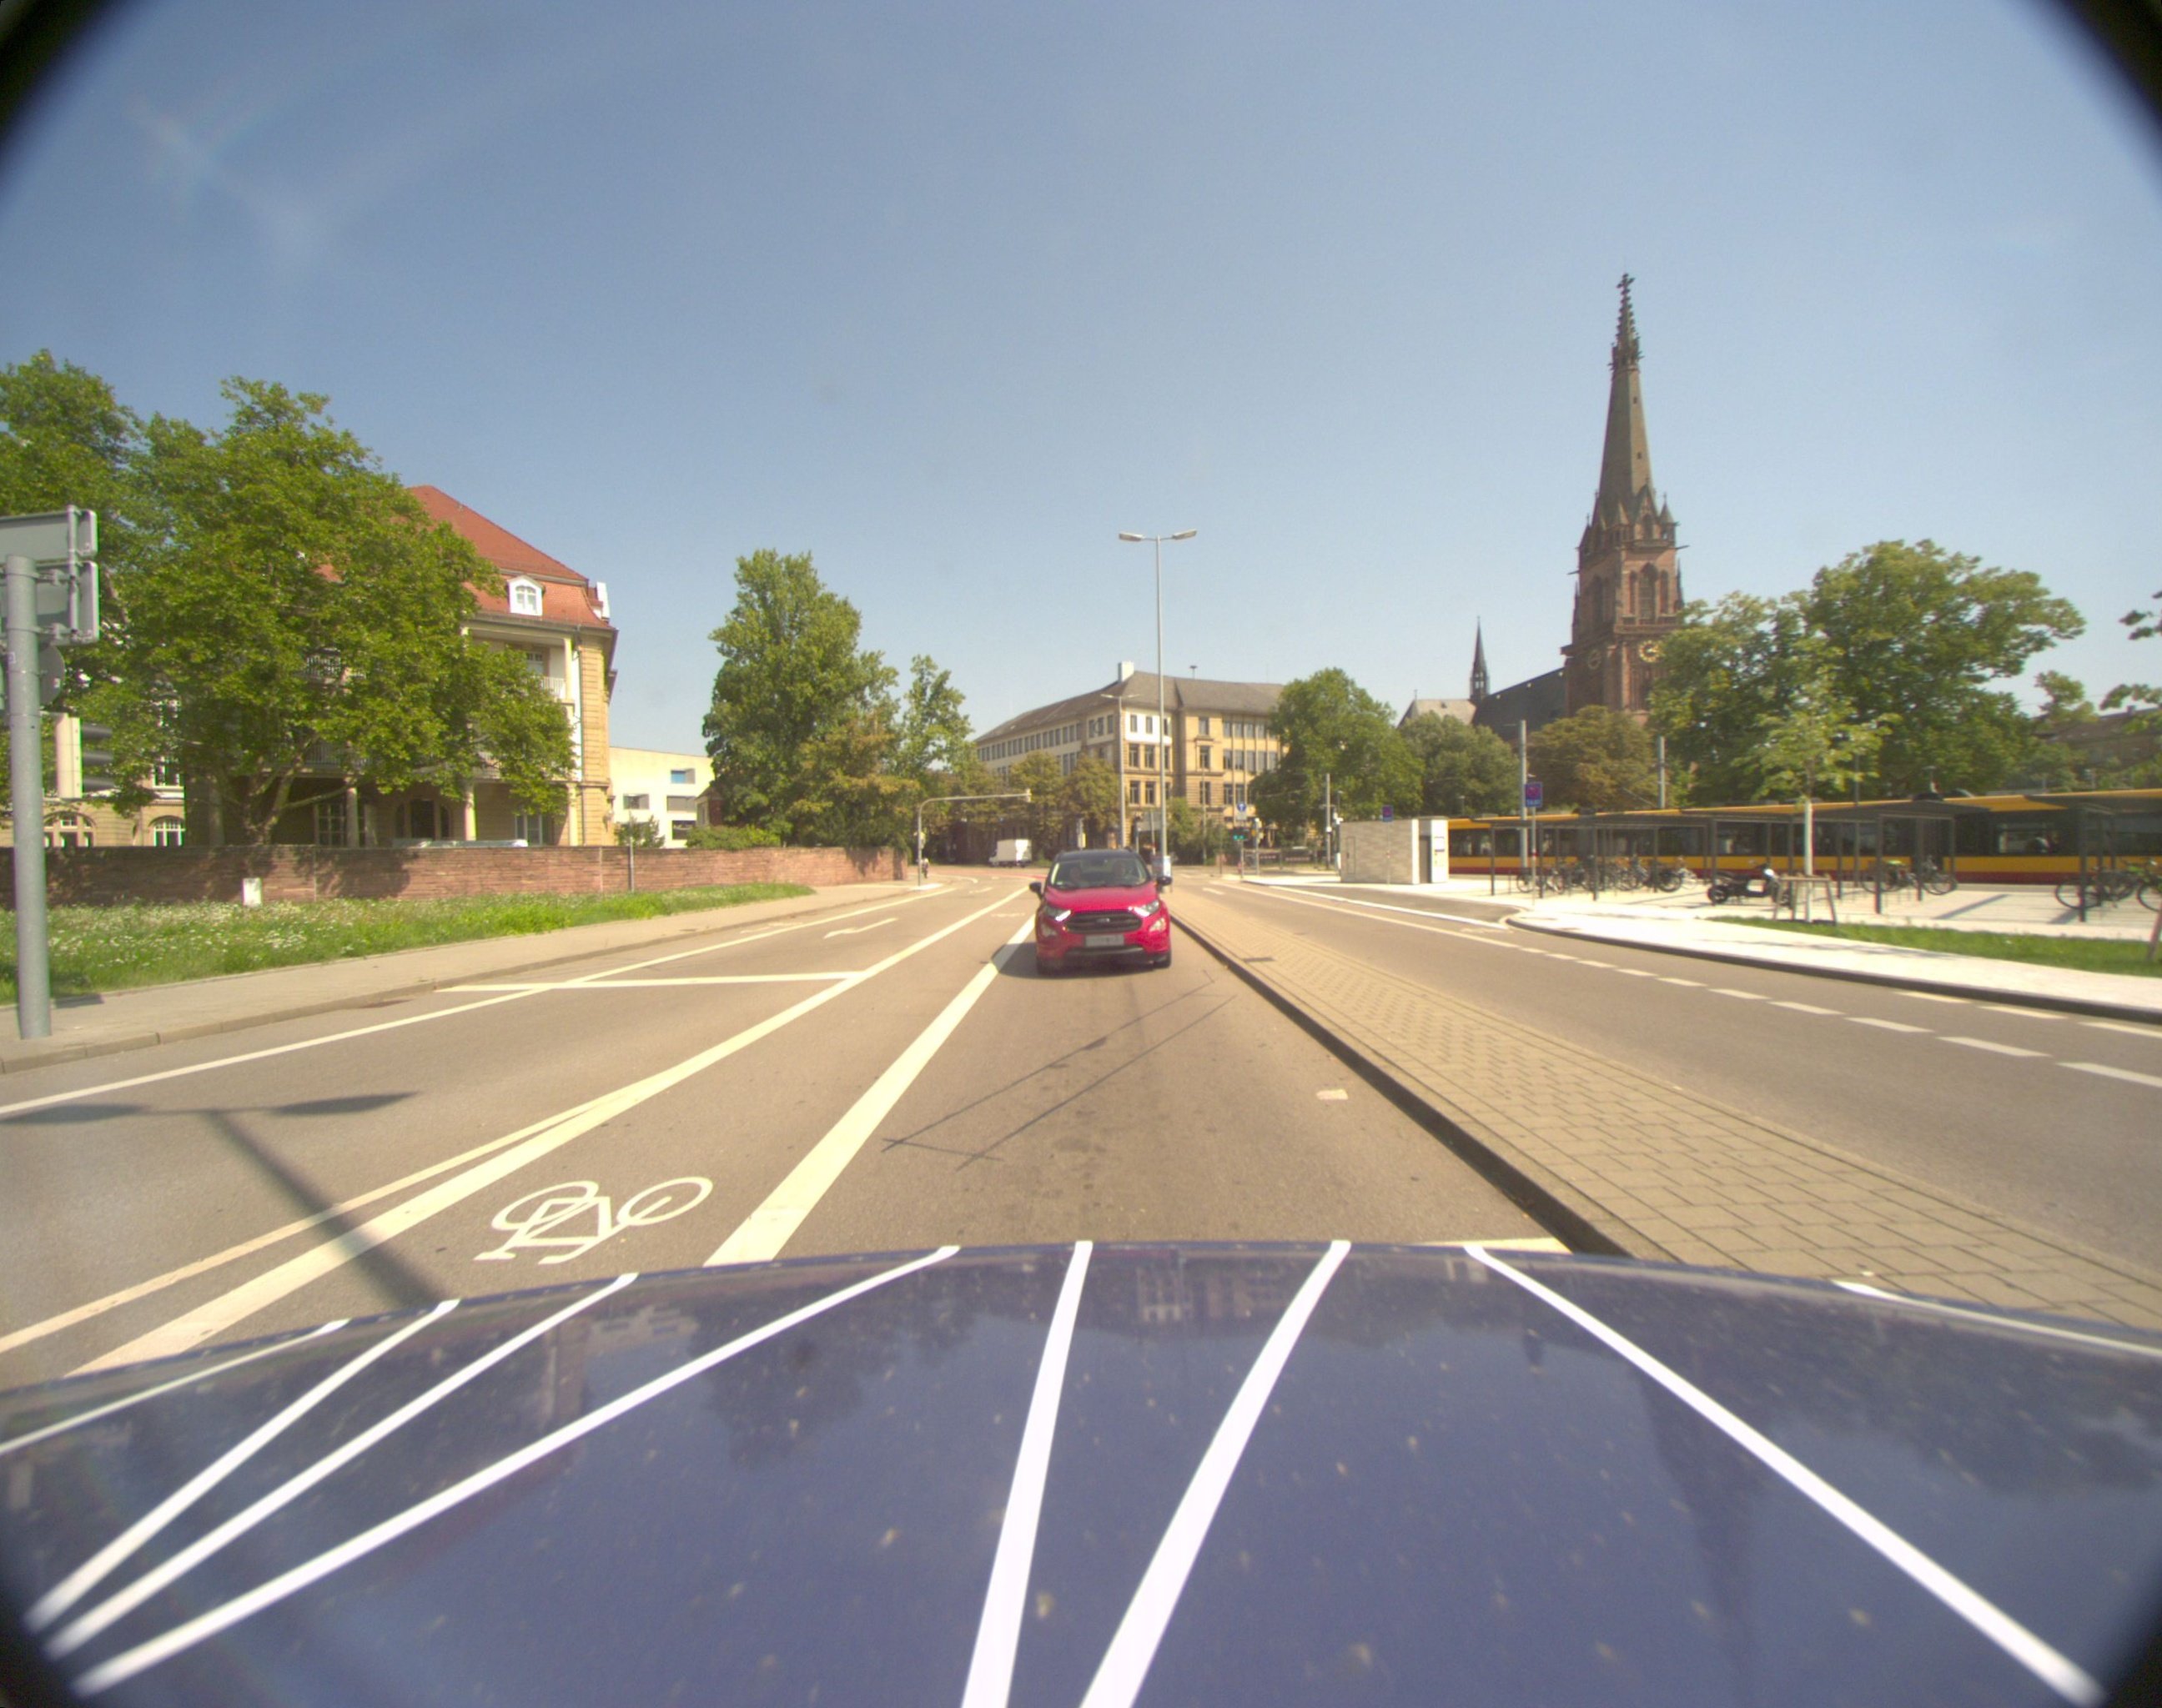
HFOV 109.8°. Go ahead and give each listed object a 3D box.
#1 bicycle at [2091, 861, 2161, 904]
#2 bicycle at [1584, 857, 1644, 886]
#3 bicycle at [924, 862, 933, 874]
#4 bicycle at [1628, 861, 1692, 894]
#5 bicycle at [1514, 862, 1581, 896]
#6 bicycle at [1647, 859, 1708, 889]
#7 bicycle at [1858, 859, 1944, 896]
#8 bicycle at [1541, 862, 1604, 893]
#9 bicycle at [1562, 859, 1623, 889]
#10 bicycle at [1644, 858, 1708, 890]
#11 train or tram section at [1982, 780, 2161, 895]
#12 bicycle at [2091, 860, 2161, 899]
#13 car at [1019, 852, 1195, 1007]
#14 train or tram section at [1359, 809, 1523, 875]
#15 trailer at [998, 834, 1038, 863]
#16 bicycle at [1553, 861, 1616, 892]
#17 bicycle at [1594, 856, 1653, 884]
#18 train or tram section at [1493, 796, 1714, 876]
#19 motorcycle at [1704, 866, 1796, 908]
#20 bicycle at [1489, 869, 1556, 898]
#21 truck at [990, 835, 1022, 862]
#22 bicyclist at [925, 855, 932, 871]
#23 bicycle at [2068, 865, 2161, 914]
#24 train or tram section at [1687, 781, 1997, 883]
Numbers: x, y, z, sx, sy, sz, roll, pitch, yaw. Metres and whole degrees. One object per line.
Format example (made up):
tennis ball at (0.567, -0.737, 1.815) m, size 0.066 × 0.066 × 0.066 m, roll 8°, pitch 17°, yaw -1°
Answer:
bicycle at (26.023, 0.683, 18.459) m, size 1.730 × 1.034 × 0.514 m, roll 0°, pitch 1°, yaw 43°
bicycle at (19.821, 0.622, 28.298) m, size 0.528 × 1.034 × 1.766 m, roll -1°, pitch 1°, yaw -32°
bicycle at (-11.825, 1.079, 58.887) m, size 0.437 × 0.807 × 1.485 m, roll -1°, pitch 1°, yaw -1°
bicycle at (19.003, 0.769, 24.968) m, size 0.413 × 1.034 × 1.637 m, roll -1°, pitch 1°, yaw -32°
bicycle at (15.563, 0.803, 25.405) m, size 0.528 × 1.076 × 1.860 m, roll -1°, pitch 1°, yaw -32°
bicycle at (20.866, 0.685, 26.616) m, size 0.413 × 1.034 × 1.637 m, roll -1°, pitch 1°, yaw -32°
bicycle at (23.863, 0.656, 22.143) m, size 0.413 × 1.034 × 1.637 m, roll -1°, pitch 1°, yaw -32°
bicycle at (16.859, 0.789, 26.082) m, size 0.528 × 1.034 × 1.766 m, roll -1°, pitch 1°, yaw -32°
bicycle at (18.619, 0.717, 27.688) m, size 0.528 × 1.034 × 1.766 m, roll -1°, pitch 1°, yaw -32°
bicycle at (19.943, 0.651, 25.503) m, size 0.413 × 1.034 × 1.637 m, roll -1°, pitch 1°, yaw -32°
train or tram section at (35.240, -0.530, 24.140) m, size 3.167 × 3.576 × 8.225 m, roll 0°, pitch -1°, yaw -34°
bicycle at (27.420, 0.642, 19.450) m, size 0.514 × 0.980 × 1.852 m, roll -1°, pitch 1°, yaw -36°
car at (0.311, 0.823, 10.322) m, size 1.844 × 1.605 × 4.000 m, roll -3°, pitch 0°, yaw 1°
train or tram section at (21.086, -0.592, 45.040) m, size 3.144 × 3.539 × 8.307 m, roll 0°, pitch -1°, yaw -34°
trailer at (-7.566, -0.669, 90.413) m, size 2.446 × 3.269 × 5.075 m, roll -2°, pitch 1°, yaw -36°
bicycle at (17.475, 0.763, 26.429) m, size 0.528 × 1.034 × 1.766 m, roll -1°, pitch 1°, yaw -32°
bicycle at (20.720, 0.583, 29.033) m, size 0.528 × 1.034 × 1.766 m, roll -1°, pitch 1°, yaw -32°
train or tram section at (25.805, -0.738, 38.083) m, size 3.167 × 3.576 × 8.505 m, roll 0°, pitch -1°, yaw -34°
motorcycle at (17.771, 0.856, 20.237) m, size 0.492 × 1.062 × 1.775 m, roll -1°, pitch 1°, yaw -31°
bicycle at (14.410, 0.940, 24.860) m, size 0.492 × 0.878 × 1.894 m, roll -1°, pitch 1°, yaw -31°
truck at (-9.108, -0.686, 92.541) m, size 2.434 × 3.269 × 3.418 m, roll -2°, pitch 1°, yaw -36°
bicyclist at (-11.830, 0.709, 58.897) m, size 0.433 × 1.226 × 0.540 m, roll -1°, pitch 1°, yaw -1°
bicycle at (23.114, 0.770, 16.682) m, size 0.514 × 1.034 × 1.730 m, roll -1°, pitch 1°, yaw -41°
train or tram section at (30.561, -0.703, 31.045) m, size 3.167 × 3.576 × 8.505 m, roll 0°, pitch -1°, yaw -34°
